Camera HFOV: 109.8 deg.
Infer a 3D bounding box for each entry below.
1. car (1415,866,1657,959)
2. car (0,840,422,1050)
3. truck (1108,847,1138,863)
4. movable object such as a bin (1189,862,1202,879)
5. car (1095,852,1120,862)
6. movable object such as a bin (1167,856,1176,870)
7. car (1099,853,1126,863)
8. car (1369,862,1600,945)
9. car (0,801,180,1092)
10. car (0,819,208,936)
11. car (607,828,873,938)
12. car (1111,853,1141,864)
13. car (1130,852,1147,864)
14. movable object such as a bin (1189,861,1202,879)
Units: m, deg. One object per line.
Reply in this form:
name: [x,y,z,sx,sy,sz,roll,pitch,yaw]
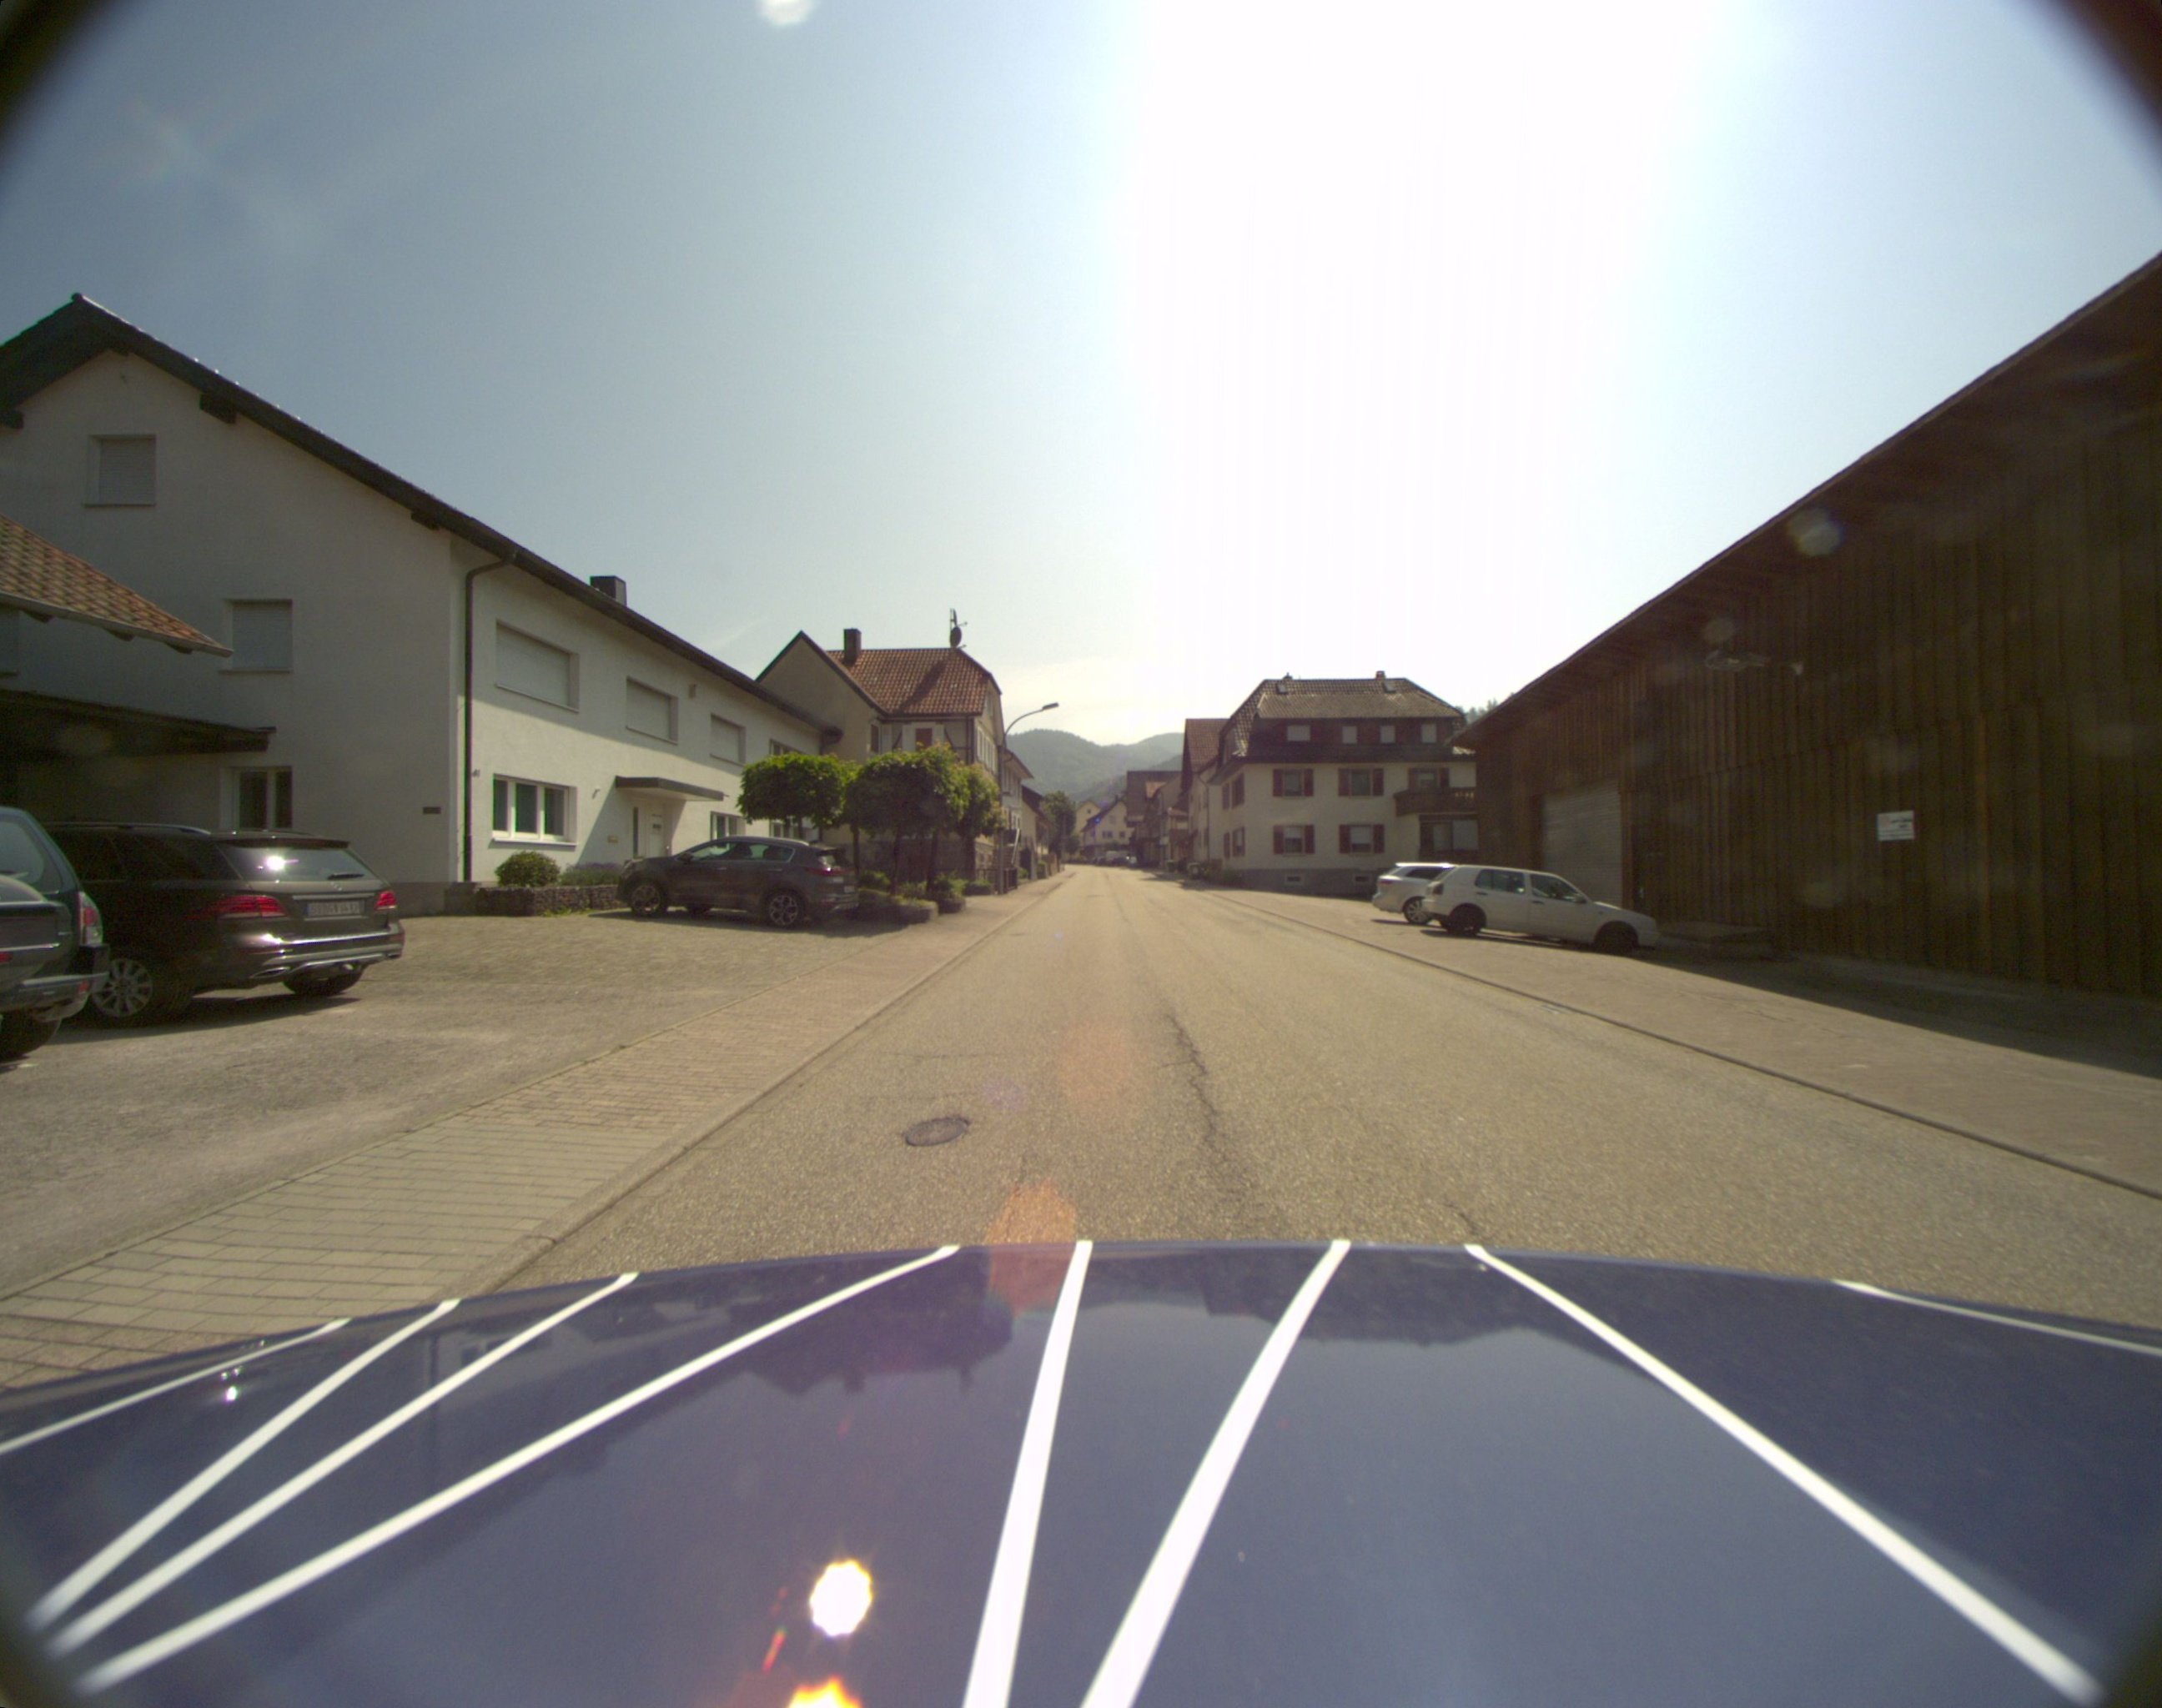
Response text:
car: [8.655,1.066,14.810,3.663,1.377,1.713,4,1,16]
car: [-9.411,0.749,7.252,4.432,1.749,1.952,1,0,-4]
truck: [6.150,0.187,112.510,4.178,2.253,1.999,-1,0,-4]
movable object such as a bin: [7.211,1.015,47.901,0.677,1.060,0.653,0,1,0]
car: [4.187,0.484,119.726,3.996,1.563,1.577,1,0,3]
movable object such as a bin: [8.034,0.783,67.342,0.719,1.174,0.598,1,0,2]
car: [4.852,0.601,116.472,3.998,1.444,1.627,1,0,-3]
car: [9.205,1.054,17.645,4.431,1.466,1.928,3,1,27]
car: [-8.816,0.561,4.657,4.138,1.822,1.954,1,0,-2]
car: [-16.358,0.316,11.527,3.997,1.634,1.871,1,0,-1]
car: [-6.448,0.518,14.637,4.229,1.677,1.777,4,1,5]
car: [6.393,0.618,107.432,4.105,1.494,1.753,0,0,0]
car: [7.502,0.556,100.154,1.774,1.544,4.285,-2,0,-1]
movable object such as a bin: [7.079,0.990,46.909,0.677,1.060,0.621,0,1,0]
